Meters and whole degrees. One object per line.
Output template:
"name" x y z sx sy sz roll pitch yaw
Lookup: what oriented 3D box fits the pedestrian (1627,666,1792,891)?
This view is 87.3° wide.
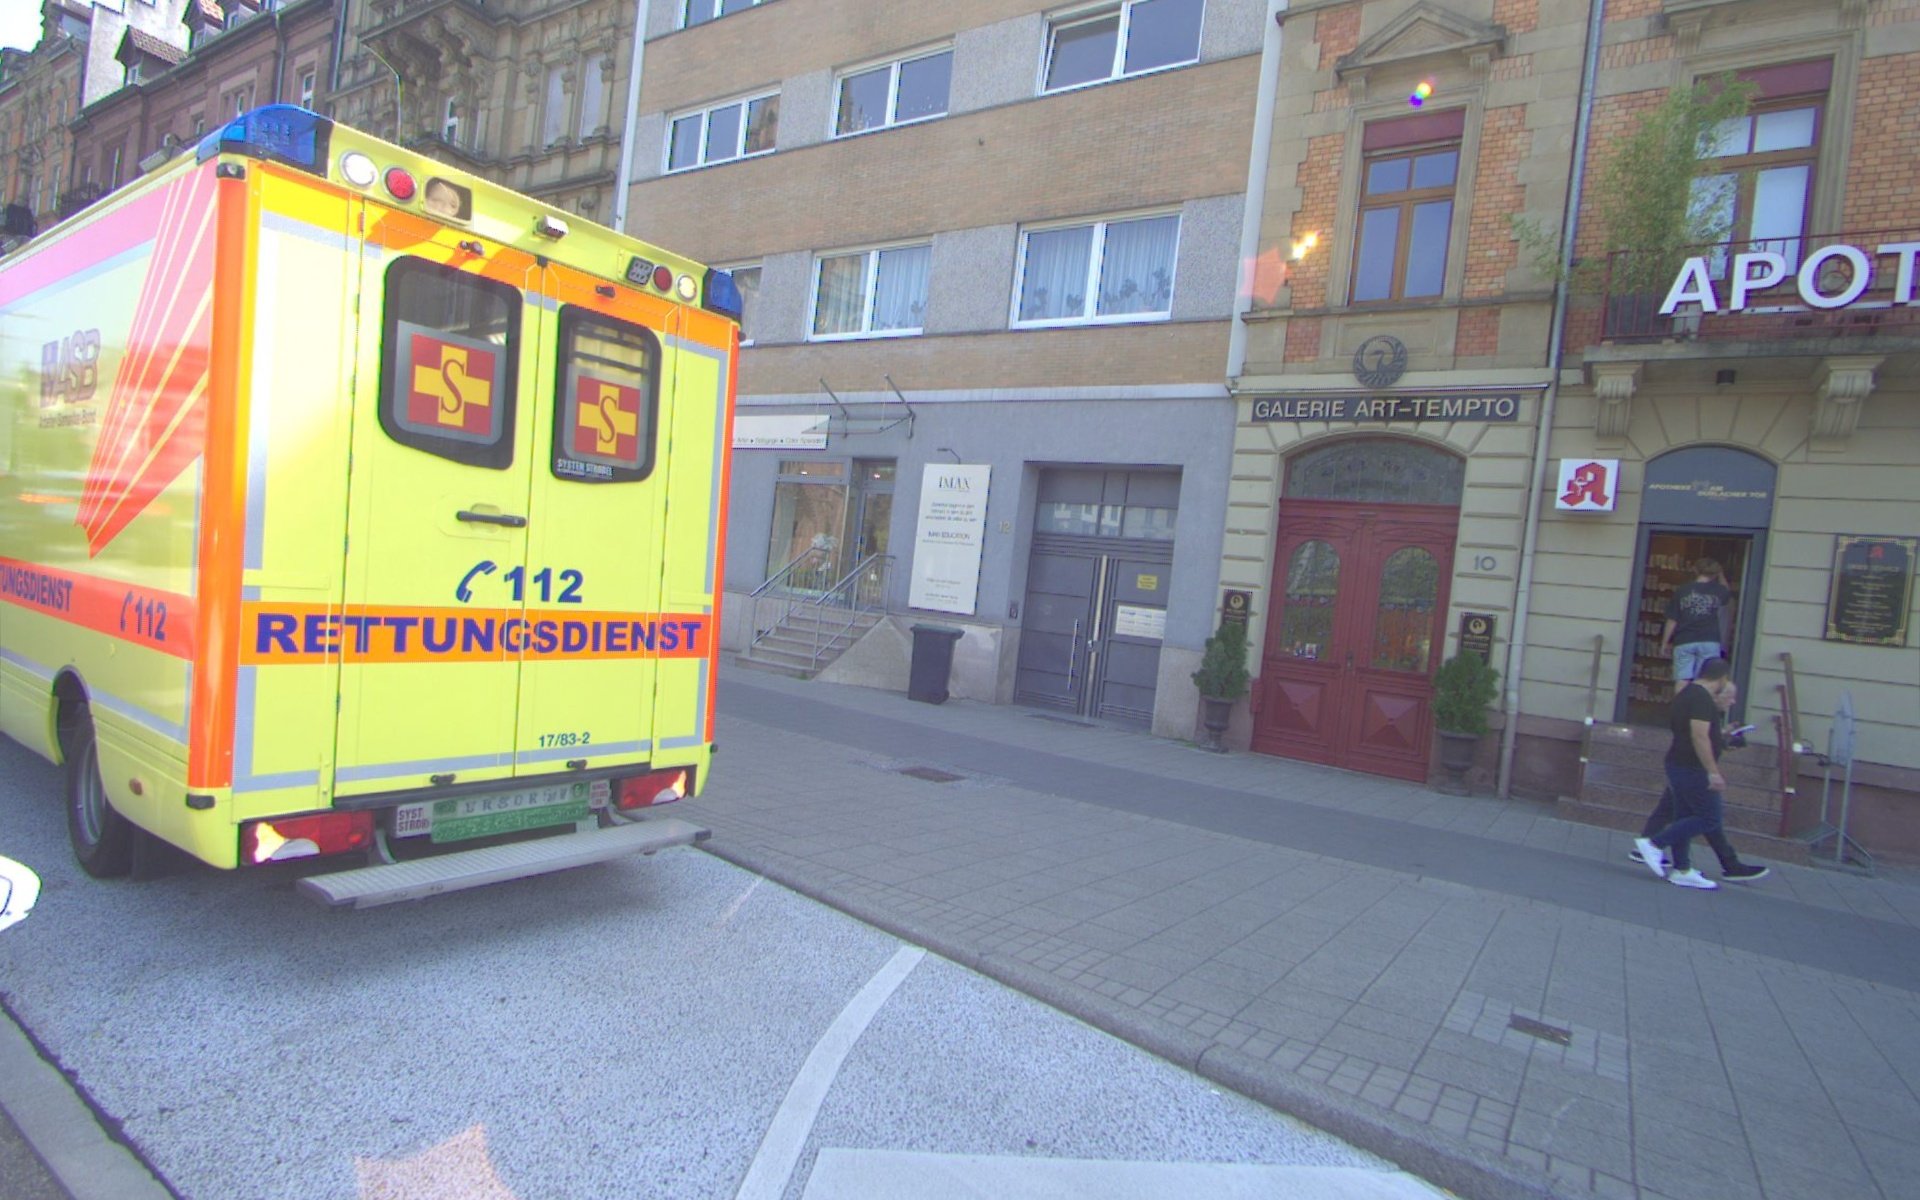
"pedestrian" 5.703 1.318 7.707 0.829 1.530 0.556 7 2 35

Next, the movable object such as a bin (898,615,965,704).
"movable object such as a bin" -0.389 0.818 14.054 0.715 1.119 0.647 7 2 8

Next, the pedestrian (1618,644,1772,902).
"pedestrian" 5.262 1.197 7.248 0.697 1.673 0.643 7 2 35

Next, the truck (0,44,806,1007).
"truck" -4.006 -0.413 5.748 6.241 2.807 2.325 6 2 37

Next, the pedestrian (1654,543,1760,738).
"pedestrian" 7.674 0.420 10.370 0.651 1.886 0.737 7 1 33
